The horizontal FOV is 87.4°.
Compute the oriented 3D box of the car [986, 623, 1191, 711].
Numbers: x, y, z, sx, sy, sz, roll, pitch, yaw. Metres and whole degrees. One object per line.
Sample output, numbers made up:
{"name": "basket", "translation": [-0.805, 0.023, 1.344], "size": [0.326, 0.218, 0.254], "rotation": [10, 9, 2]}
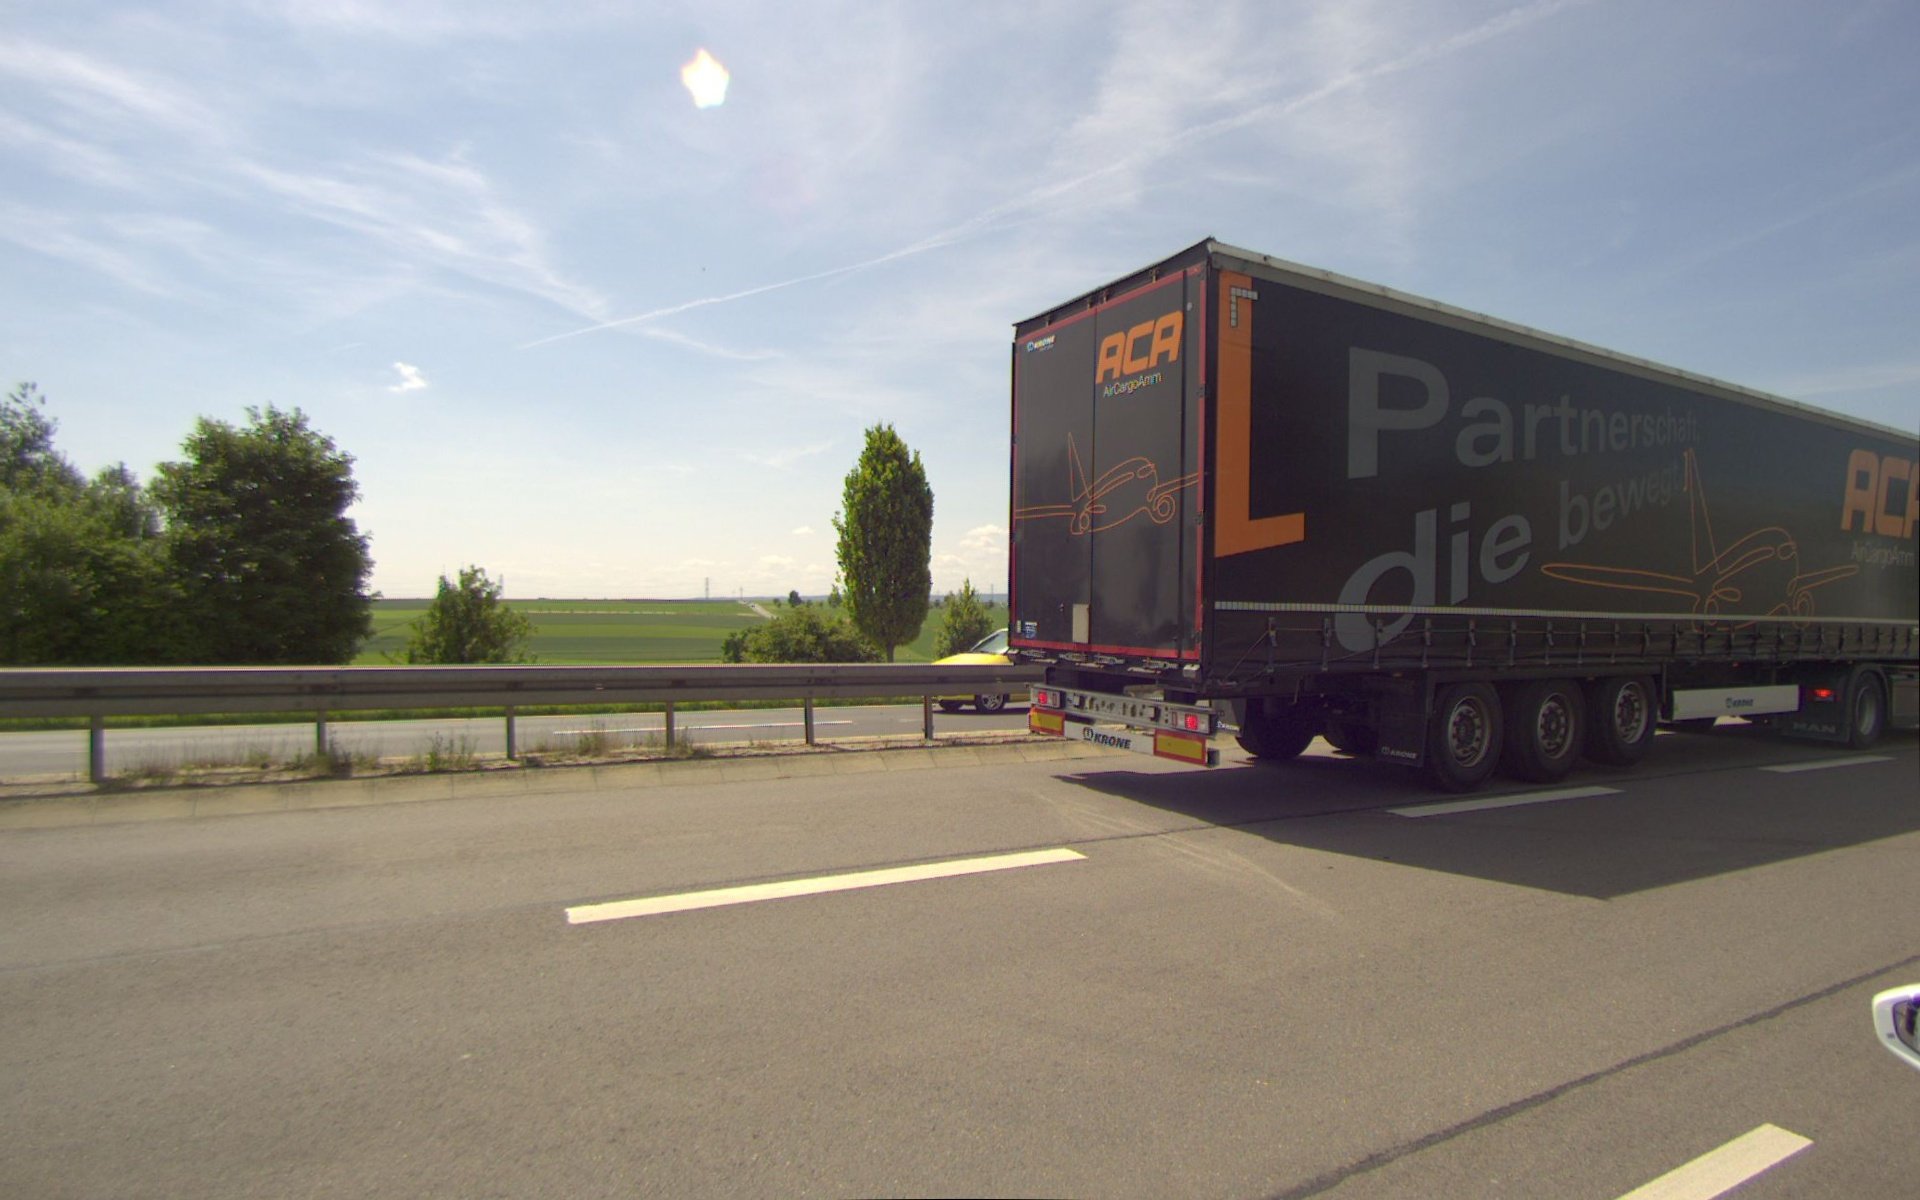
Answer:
{"name": "car", "translation": [2.422, 1.213, 18.667], "size": [3.662, 1.500, 1.506], "rotation": [1, -3, -31]}

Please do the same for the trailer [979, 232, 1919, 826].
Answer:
{"name": "trailer", "translation": [6.782, -0.287, 11.339], "size": [13.624, 3.965, 2.770], "rotation": [2, 0, -30]}

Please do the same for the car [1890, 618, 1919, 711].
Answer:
{"name": "car", "translation": [19.488, 1.239, 18.853], "size": [4.298, 1.679, 1.846], "rotation": [2, 0, -31]}

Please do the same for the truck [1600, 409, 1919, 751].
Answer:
{"name": "truck", "translation": [12.426, -0.167, 14.640], "size": [5.900, 4.067, 2.770], "rotation": [2, 0, -30]}
